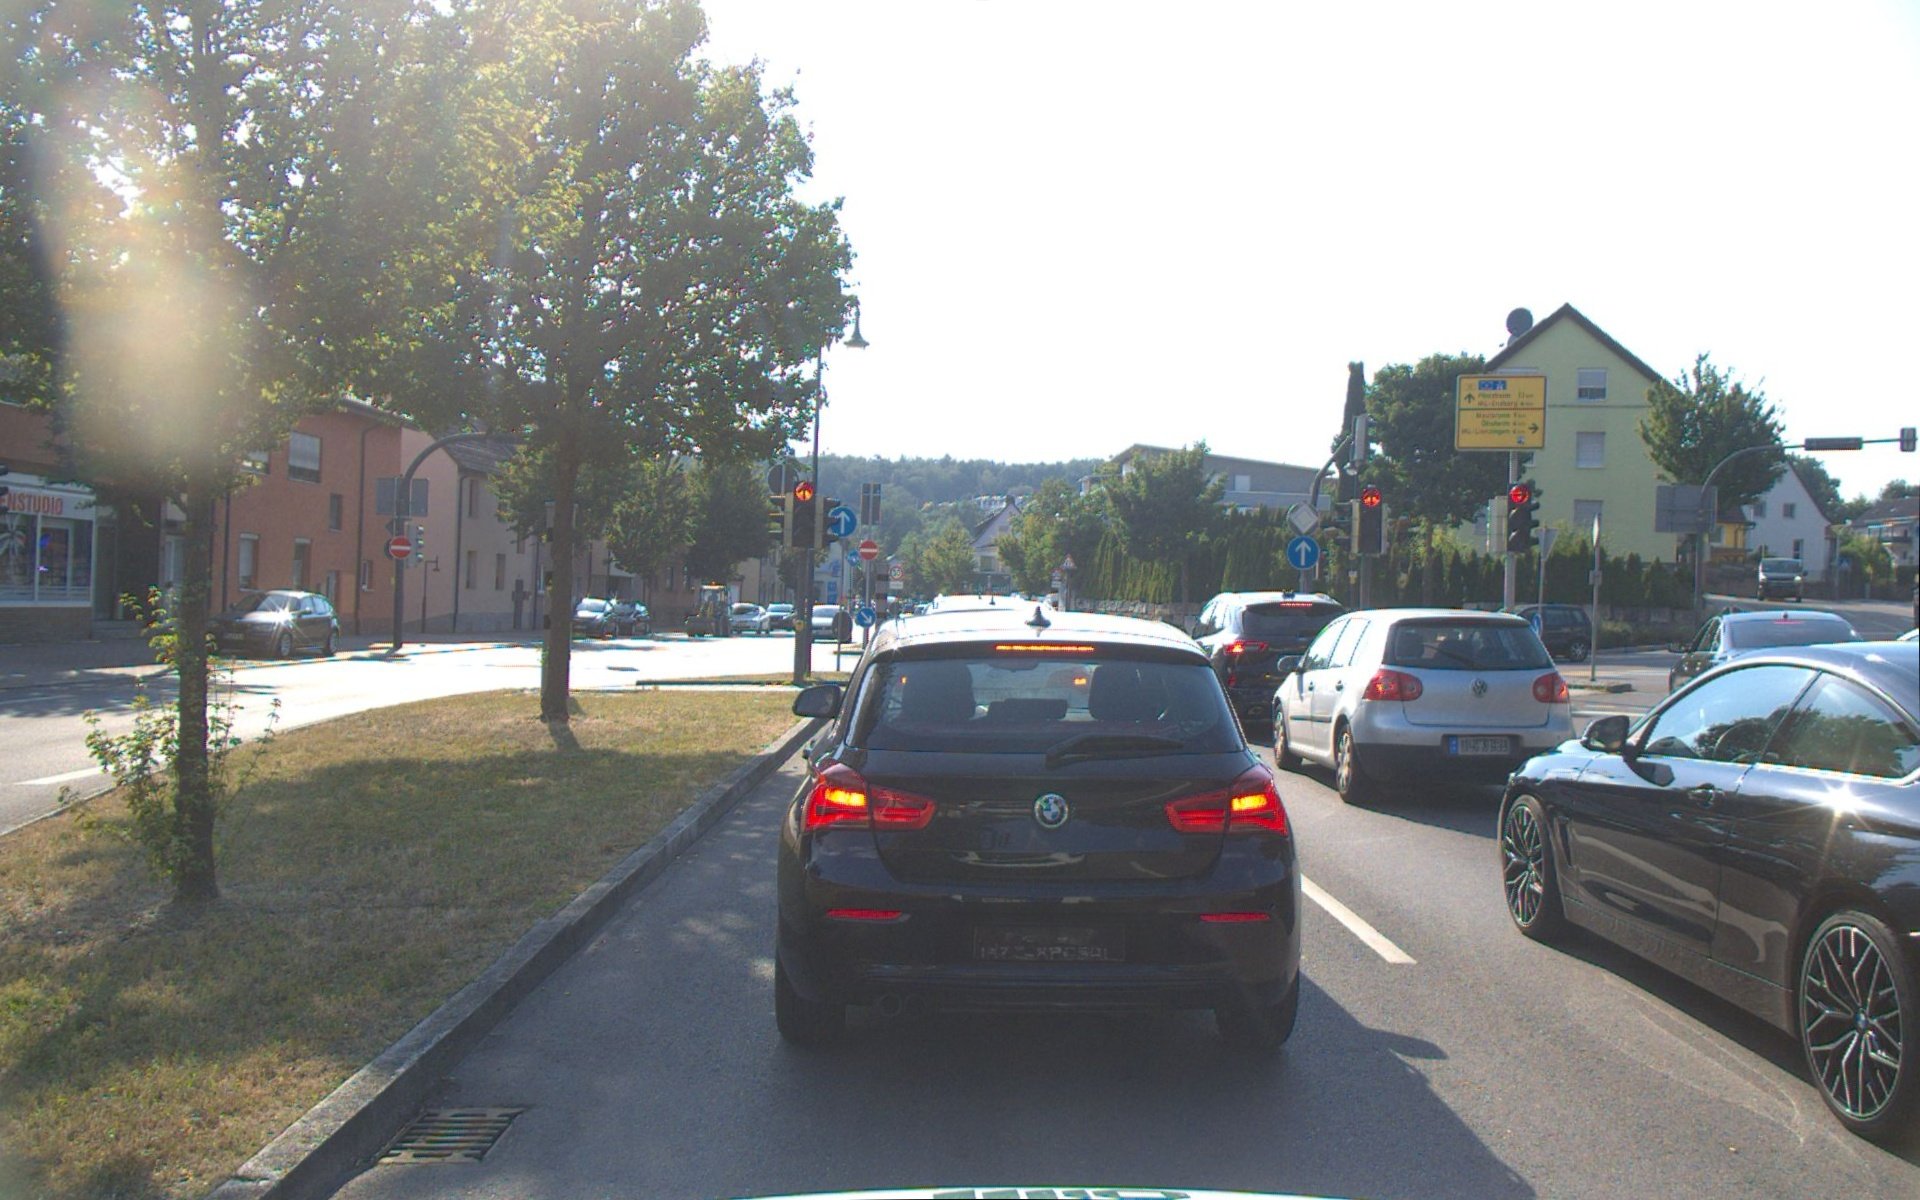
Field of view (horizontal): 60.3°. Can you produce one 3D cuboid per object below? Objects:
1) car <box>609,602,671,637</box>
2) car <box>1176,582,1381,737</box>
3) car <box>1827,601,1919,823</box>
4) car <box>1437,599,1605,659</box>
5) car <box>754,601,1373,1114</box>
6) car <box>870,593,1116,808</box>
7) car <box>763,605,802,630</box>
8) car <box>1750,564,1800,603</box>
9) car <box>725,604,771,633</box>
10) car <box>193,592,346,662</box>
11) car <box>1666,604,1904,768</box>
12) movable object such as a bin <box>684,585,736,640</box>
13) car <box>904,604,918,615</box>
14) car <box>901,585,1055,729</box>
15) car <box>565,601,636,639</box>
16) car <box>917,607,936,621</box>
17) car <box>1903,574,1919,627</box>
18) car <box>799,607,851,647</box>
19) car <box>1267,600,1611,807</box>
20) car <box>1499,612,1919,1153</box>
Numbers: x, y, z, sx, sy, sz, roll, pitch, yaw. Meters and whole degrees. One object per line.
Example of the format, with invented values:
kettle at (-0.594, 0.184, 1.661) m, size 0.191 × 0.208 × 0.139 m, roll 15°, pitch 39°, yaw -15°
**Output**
car at (-14.111, 0.839, 73.105) m, size 1.701 × 1.323 × 4.001 m, roll 5°, pitch 0°, yaw 2°
car at (3.743, 0.647, 20.068) m, size 1.725 × 1.685 × 3.902 m, roll -1°, pitch 0°, yaw 0°
car at (7.618, 0.796, 11.638) m, size 1.583 × 1.569 × 3.320 m, roll -1°, pitch 0°, yaw 6°
car at (15.166, 0.763, 44.844) m, size 3.907 × 1.515 × 1.847 m, roll 1°, pitch 0°, yaw -3°
car at (0.292, 0.733, 6.849) m, size 1.751 × 1.422 × 4.280 m, roll -1°, pitch 0°, yaw 0°
car at (0.234, 0.713, 13.994) m, size 1.751 × 1.520 × 4.280 m, roll -1°, pitch 0°, yaw 0°
car at (-10.719, 1.044, 99.822) m, size 1.701 × 1.323 × 3.800 m, roll 5°, pitch 0°, yaw 2°
car at (38.302, -0.747, 77.829) m, size 1.805 × 1.770 × 4.783 m, roll 1°, pitch 0°, yaw 23°
car at (-11.166, 0.980, 87.197) m, size 1.701 × 1.323 × 3.800 m, roll 5°, pitch 0°, yaw 2°
car at (-15.475, 0.573, 37.303) m, size 1.702 × 1.323 × 3.999 m, roll 5°, pitch 0°, yaw -1°
car at (9.043, 0.851, 18.470) m, size 1.621 × 1.569 × 4.401 m, roll -1°, pitch 0°, yaw 17°
movable object such as a bin at (-11.517, 0.570, 76.511) m, size 1.701 × 2.485 × 4.449 m, roll 0°, pitch 0°, yaw 0°
car at (-7.046, 1.369, 236.927) m, size 1.701 × 1.323 × 3.800 m, roll 5°, pitch 0°, yaw 2°
car at (0.204, 0.646, 21.034) m, size 1.751 × 1.622 × 4.280 m, roll -1°, pitch 0°, yaw 0°
car at (-14.500, 0.806, 66.917) m, size 1.701 × 1.323 × 4.001 m, roll 5°, pitch 0°, yaw 3°
car at (-3.572, 1.514, 177.495) m, size 1.701 × 1.323 × 3.800 m, roll 5°, pitch 0°, yaw 2°
car at (32.250, 0.038, 54.335) m, size 1.805 × 1.670 × 4.428 m, roll 1°, pitch 0°, yaw 25°
car at (-5.413, 1.054, 66.798) m, size 1.801 × 1.508 × 4.000 m, roll 1°, pitch 0°, yaw -1°
car at (3.789, 0.738, 13.785) m, size 1.725 × 1.451 × 3.902 m, roll -1°, pitch 0°, yaw 0°
car at (3.467, 0.782, 5.829) m, size 1.725 × 1.422 × 4.280 m, roll -1°, pitch 0°, yaw 0°
